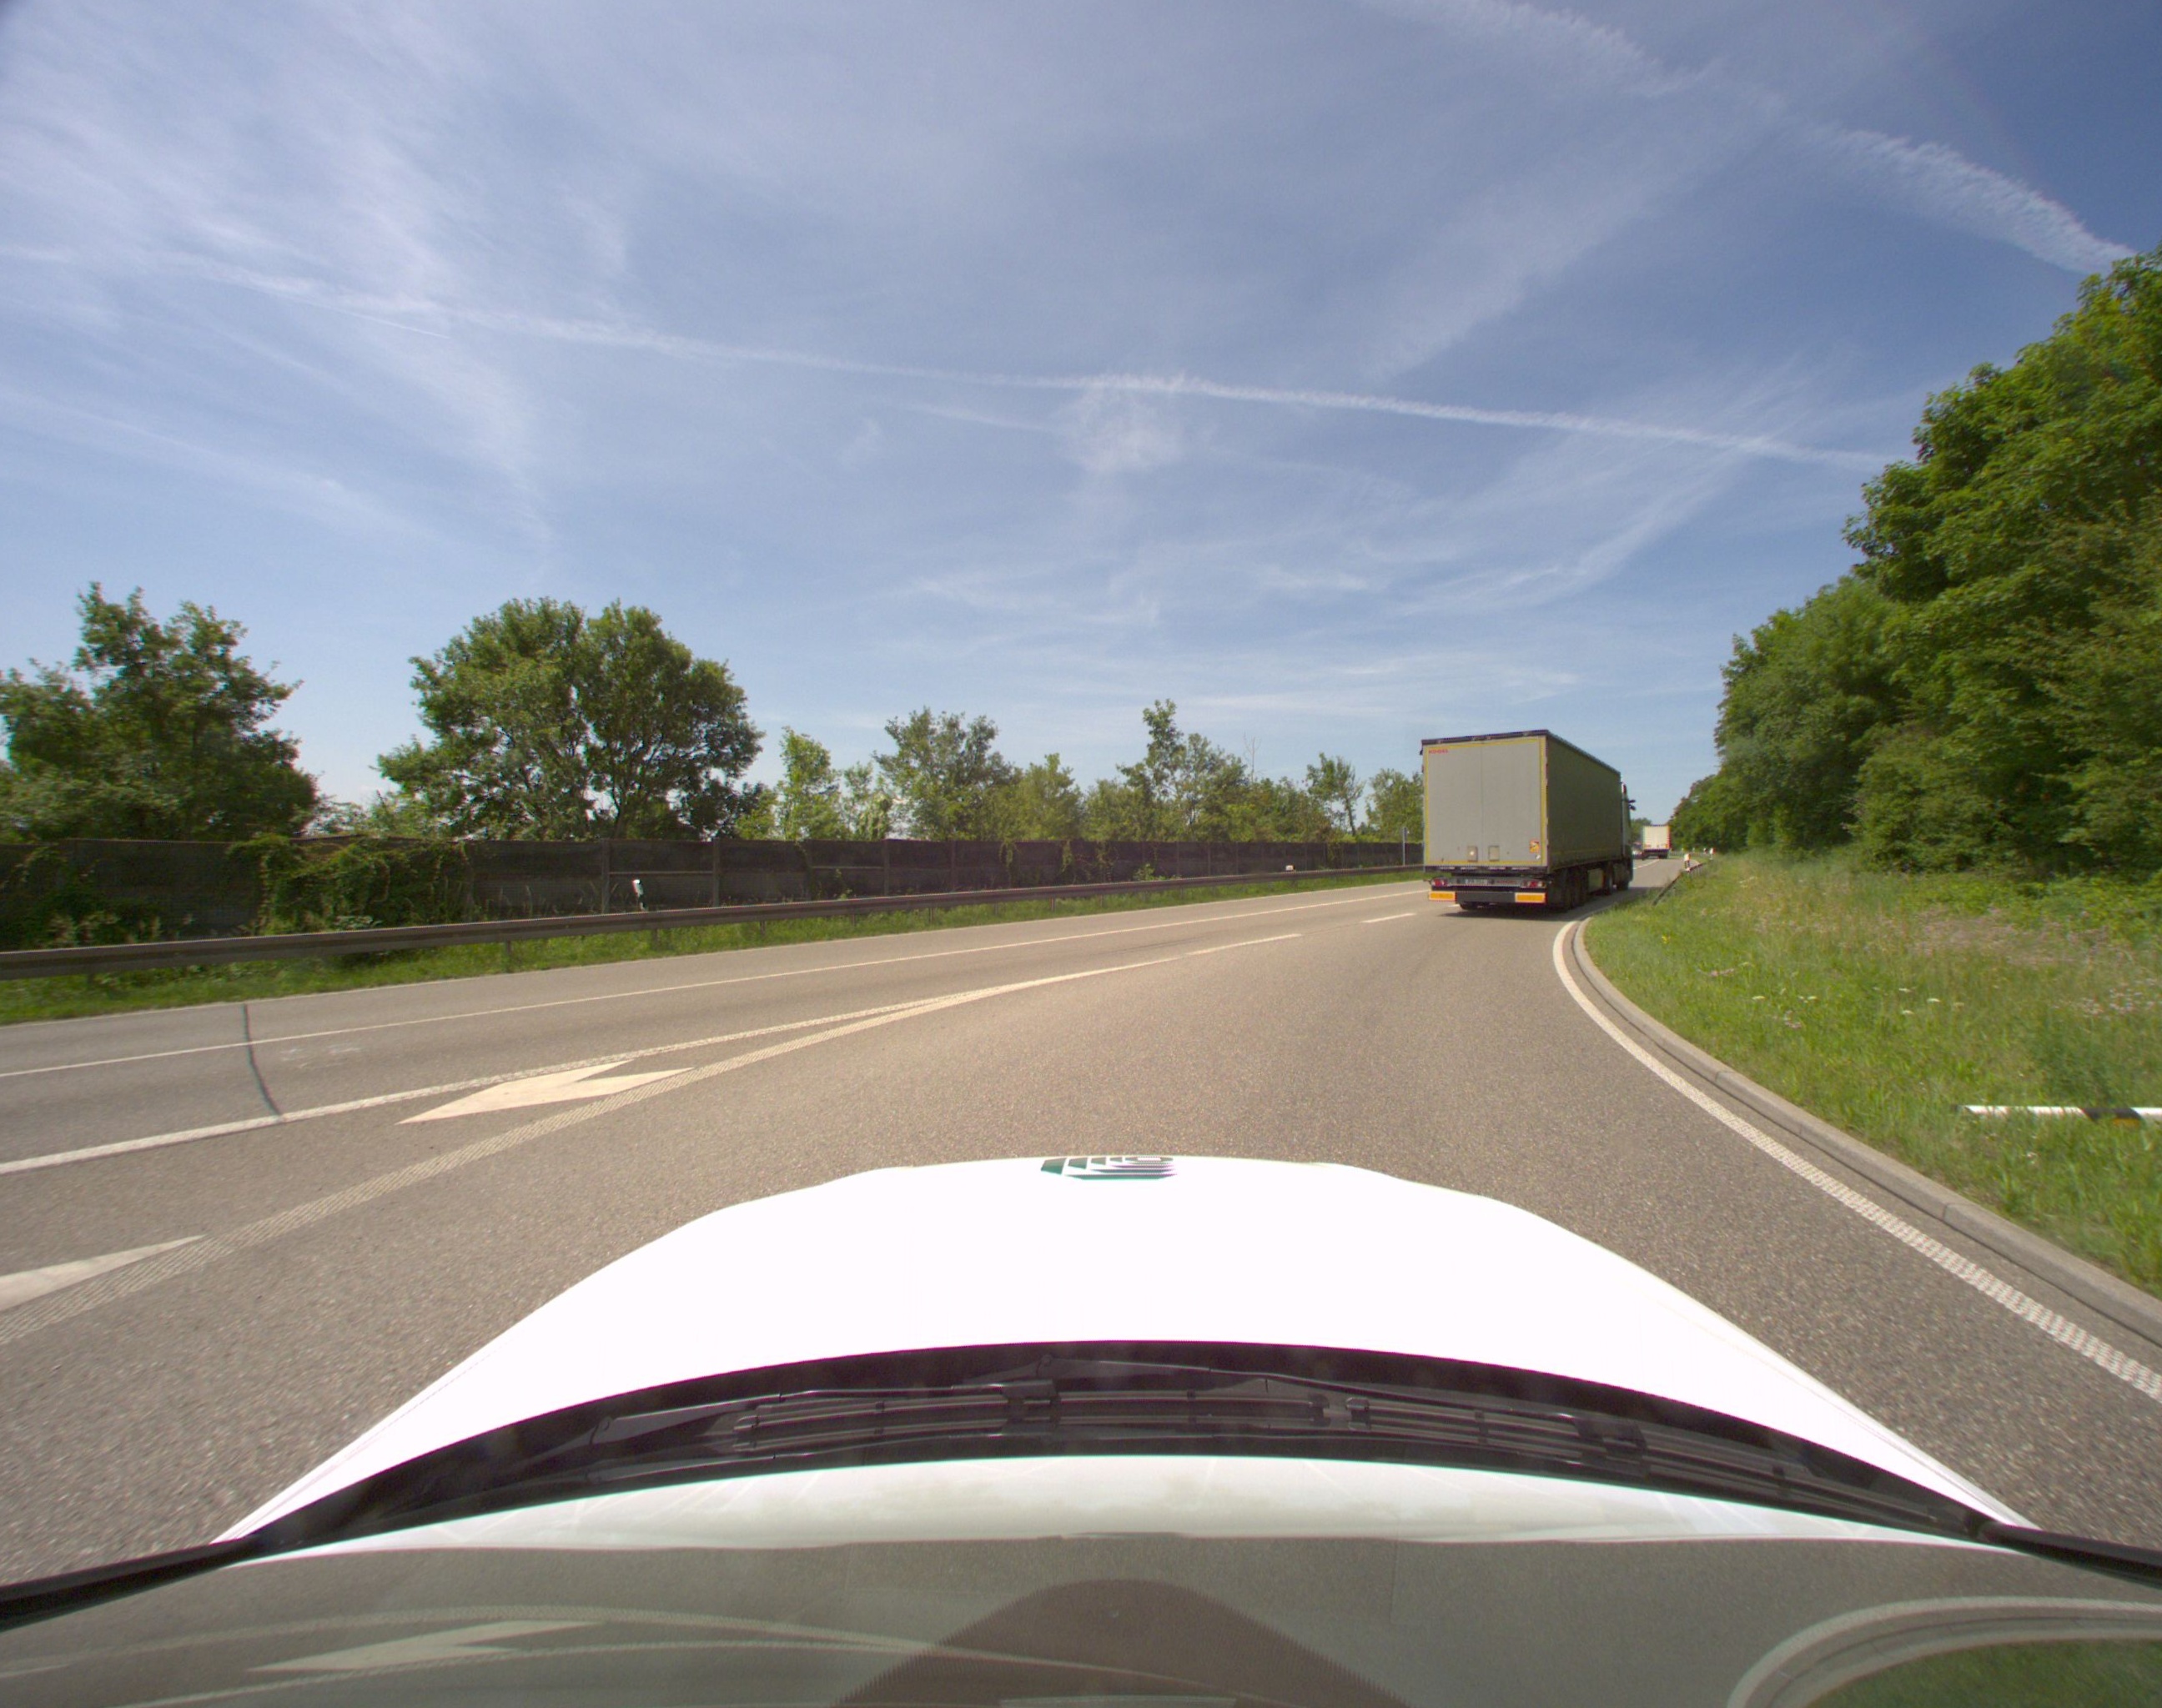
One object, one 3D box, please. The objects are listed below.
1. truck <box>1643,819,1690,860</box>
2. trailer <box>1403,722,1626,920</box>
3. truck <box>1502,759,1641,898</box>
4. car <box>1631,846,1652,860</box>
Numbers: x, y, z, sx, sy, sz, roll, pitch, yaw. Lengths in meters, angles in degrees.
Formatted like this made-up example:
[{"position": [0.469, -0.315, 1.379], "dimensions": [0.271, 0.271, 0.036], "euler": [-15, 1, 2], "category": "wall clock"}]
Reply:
[{"position": [72.807, -1.682, 101.094], "dimensions": [3.791, 4.744, 16.305], "euler": [-1, 0, 39], "category": "truck"}, {"position": [12.679, -0.660, 22.719], "dimensions": [2.998, 4.035, 13.436], "euler": [-1, -1, 39], "category": "trailer"}, {"position": [17.285, -0.752, 28.447], "dimensions": [3.122, 4.225, 7.167], "euler": [-1, -1, 39], "category": "truck"}, {"position": [60.583, -0.114, 88.027], "dimensions": [1.650, 1.486, 4.025], "euler": [0, 0, 37], "category": "car"}]
